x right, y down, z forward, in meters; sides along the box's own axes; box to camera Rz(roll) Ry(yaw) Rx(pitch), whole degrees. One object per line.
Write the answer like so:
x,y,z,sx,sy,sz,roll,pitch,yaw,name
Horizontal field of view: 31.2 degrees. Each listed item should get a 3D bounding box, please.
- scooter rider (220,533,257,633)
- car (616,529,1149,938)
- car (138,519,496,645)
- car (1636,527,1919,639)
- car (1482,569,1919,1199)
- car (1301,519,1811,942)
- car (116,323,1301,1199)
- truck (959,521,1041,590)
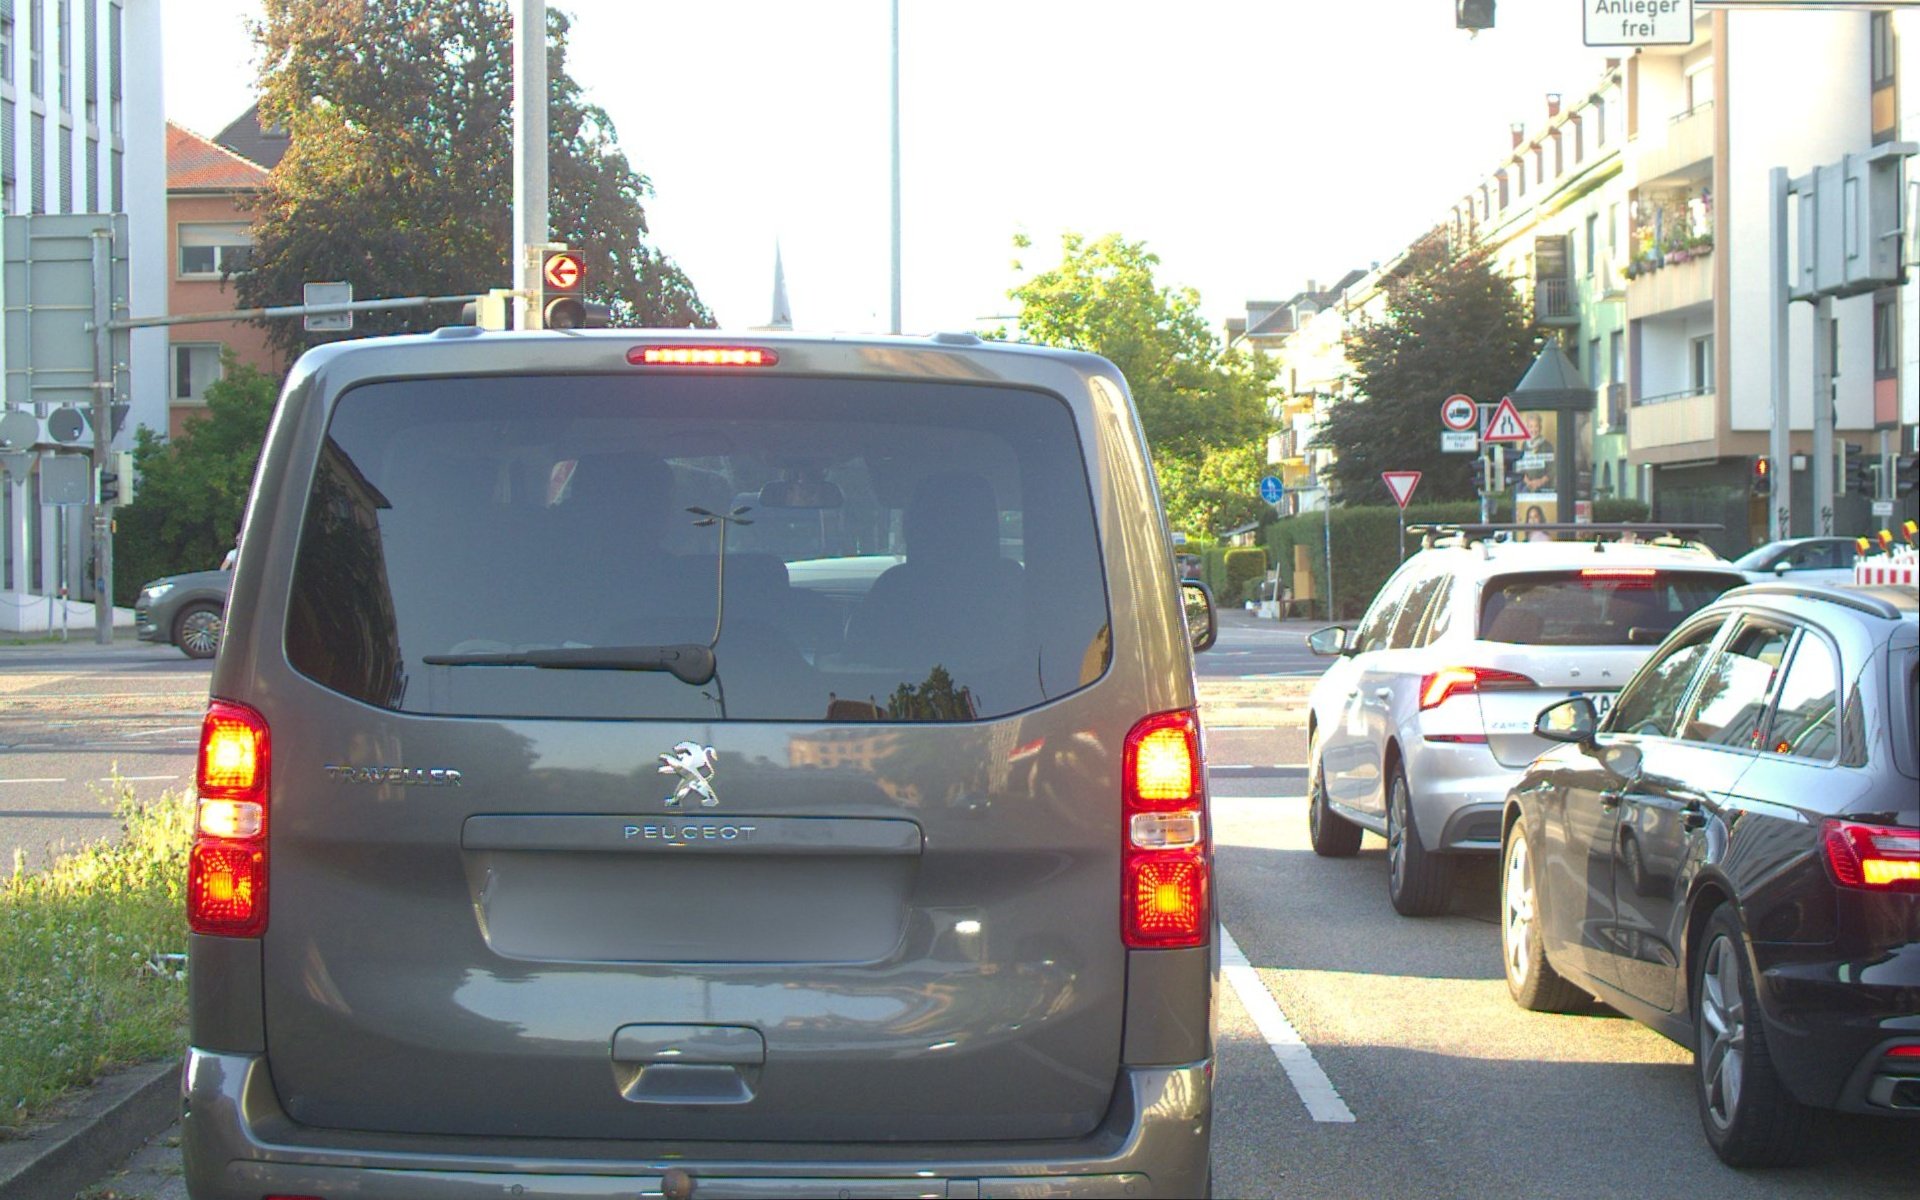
-12.284,-0.297,58.526,0.481,1.691,0.636,0,1,-1,scooter rider
-0.313,0.464,14.920,1.993,1.525,4.000,0,1,-1,car
-8.167,-0.247,43.970,4.338,1.544,1.788,0,1,-5,car
11.161,-0.247,46.405,3.674,1.383,1.697,-2,1,-2,car
2.623,0.659,9.383,1.681,1.416,4.214,1,1,-1,car
2.490,0.470,15.171,1.528,1.608,3.745,1,1,-1,car
-0.441,0.452,7.873,1.907,1.857,4.527,1,1,-1,car
1.271,-1.402,107.526,2.128,2.079,4.630,0,1,6,truck
